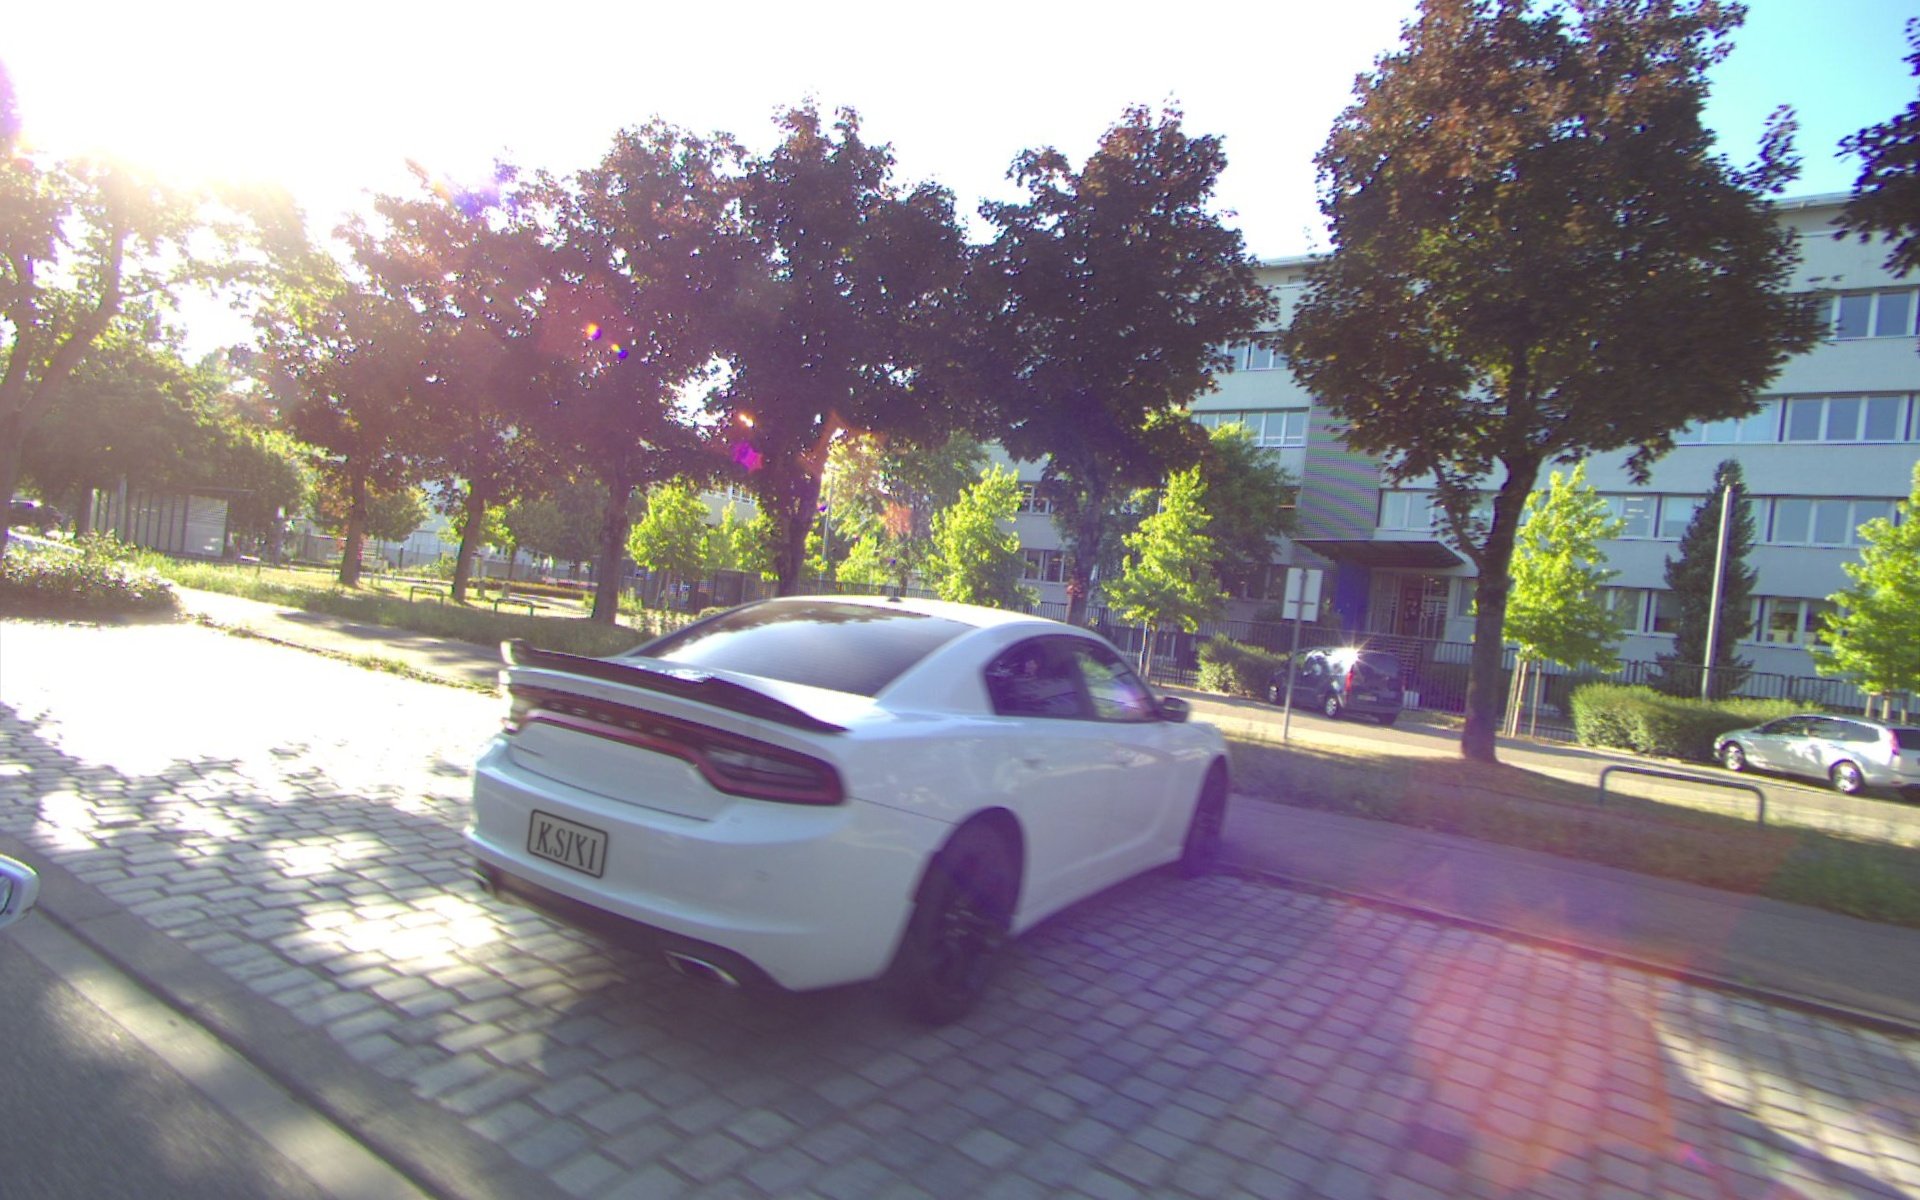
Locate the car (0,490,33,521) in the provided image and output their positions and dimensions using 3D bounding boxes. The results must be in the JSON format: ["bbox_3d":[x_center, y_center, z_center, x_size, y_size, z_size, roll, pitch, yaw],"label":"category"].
[{"bbox_3d":[-61.377,-6.190,63.147,1.969,1.726,4.358,7,-1,36],"label":"car"}]

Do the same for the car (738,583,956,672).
[{"bbox_3d":[-2.781,0.670,24.637,4.881,1.593,1.992,7,-1,-19],"label":"car"}]

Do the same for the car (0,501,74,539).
[{"bbox_3d":[-55.258,-4.799,59.057,2.026,1.726,4.433,6,-1,34],"label":"car"}]

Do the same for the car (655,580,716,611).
[{"bbox_3d":[-17.639,-0.303,64.687,3.766,1.549,1.618,7,0,35],"label":"car"}]

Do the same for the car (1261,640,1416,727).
[{"bbox_3d":[10.009,2.149,27.034,1.737,1.771,4.488,7,0,-9],"label":"car"}]

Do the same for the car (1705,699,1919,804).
[{"bbox_3d":[18.267,3.123,21.050,1.774,1.547,4.310,6,-1,-4],"label":"car"}]

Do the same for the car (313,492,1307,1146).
[{"bbox_3d":[-0.018,0.685,5.269,2.123,1.593,5.179,6,-1,34],"label":"car"}]

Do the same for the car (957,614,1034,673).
[{"bbox_3d":[1.085,1.360,33.074,1.737,1.546,4.299,7,-1,-7],"label":"car"}]

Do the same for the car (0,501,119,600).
[{"bbox_3d":[-16.524,-0.933,16.166,1.973,1.498,4.348,6,1,42],"label":"car"}]
